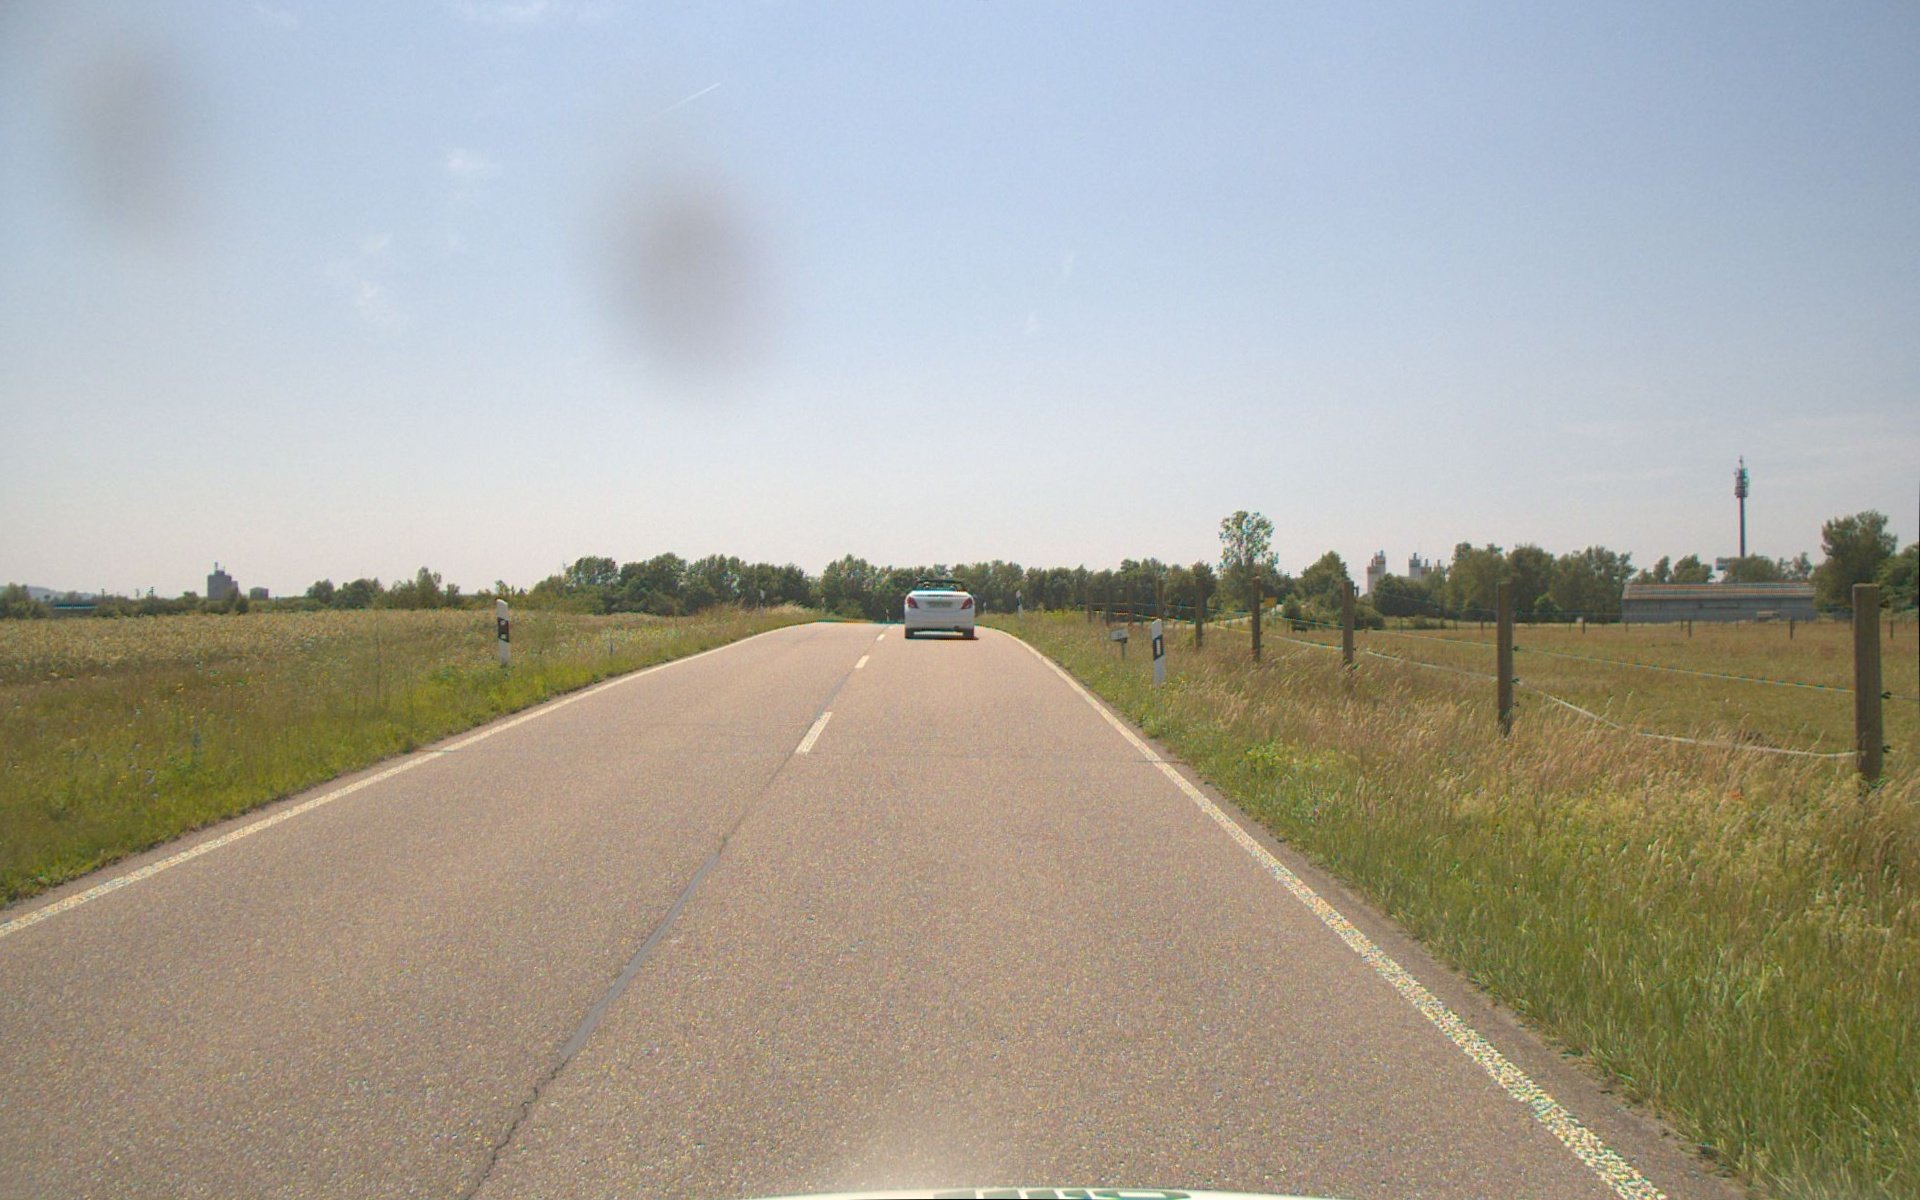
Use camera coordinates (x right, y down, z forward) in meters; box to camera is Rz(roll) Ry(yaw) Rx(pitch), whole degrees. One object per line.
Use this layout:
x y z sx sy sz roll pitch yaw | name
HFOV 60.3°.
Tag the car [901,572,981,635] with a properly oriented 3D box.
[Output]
-0.473 0.057 40.243 1.813 1.403 3.999 1 1 -1 | car
